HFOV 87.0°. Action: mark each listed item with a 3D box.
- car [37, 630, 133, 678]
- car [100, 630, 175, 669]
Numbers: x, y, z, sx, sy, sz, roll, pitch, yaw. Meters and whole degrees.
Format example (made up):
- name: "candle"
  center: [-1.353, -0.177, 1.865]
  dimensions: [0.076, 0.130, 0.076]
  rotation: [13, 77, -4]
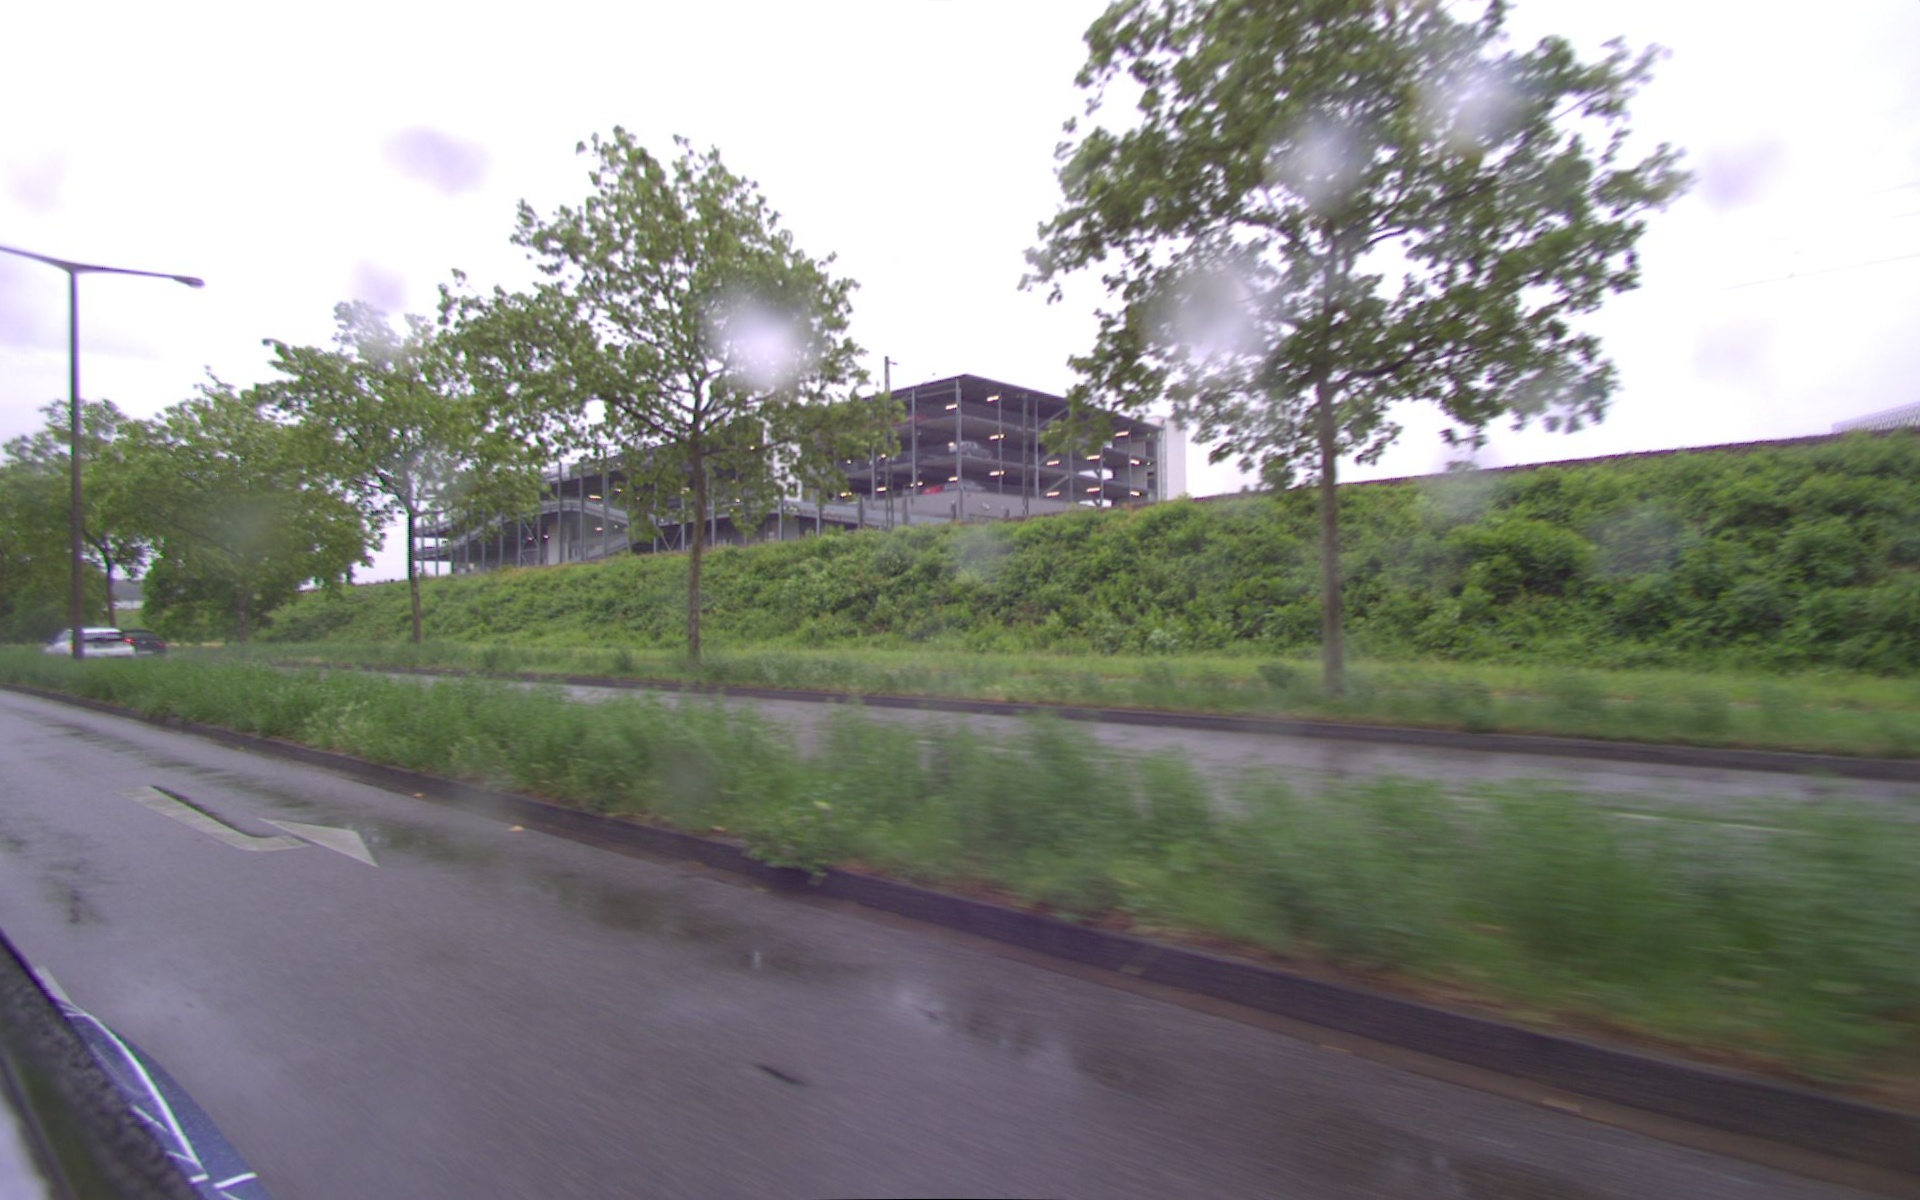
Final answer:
- name: "car"
  center: [-30.360, 1.858, 35.069]
  dimensions: [4.198, 1.506, 1.686]
  rotation: [-2, -1, 37]
- name: "car"
  center: [-33.239, 1.991, 40.868]
  dimensions: [3.997, 1.437, 1.615]
  rotation: [-2, -1, 40]
